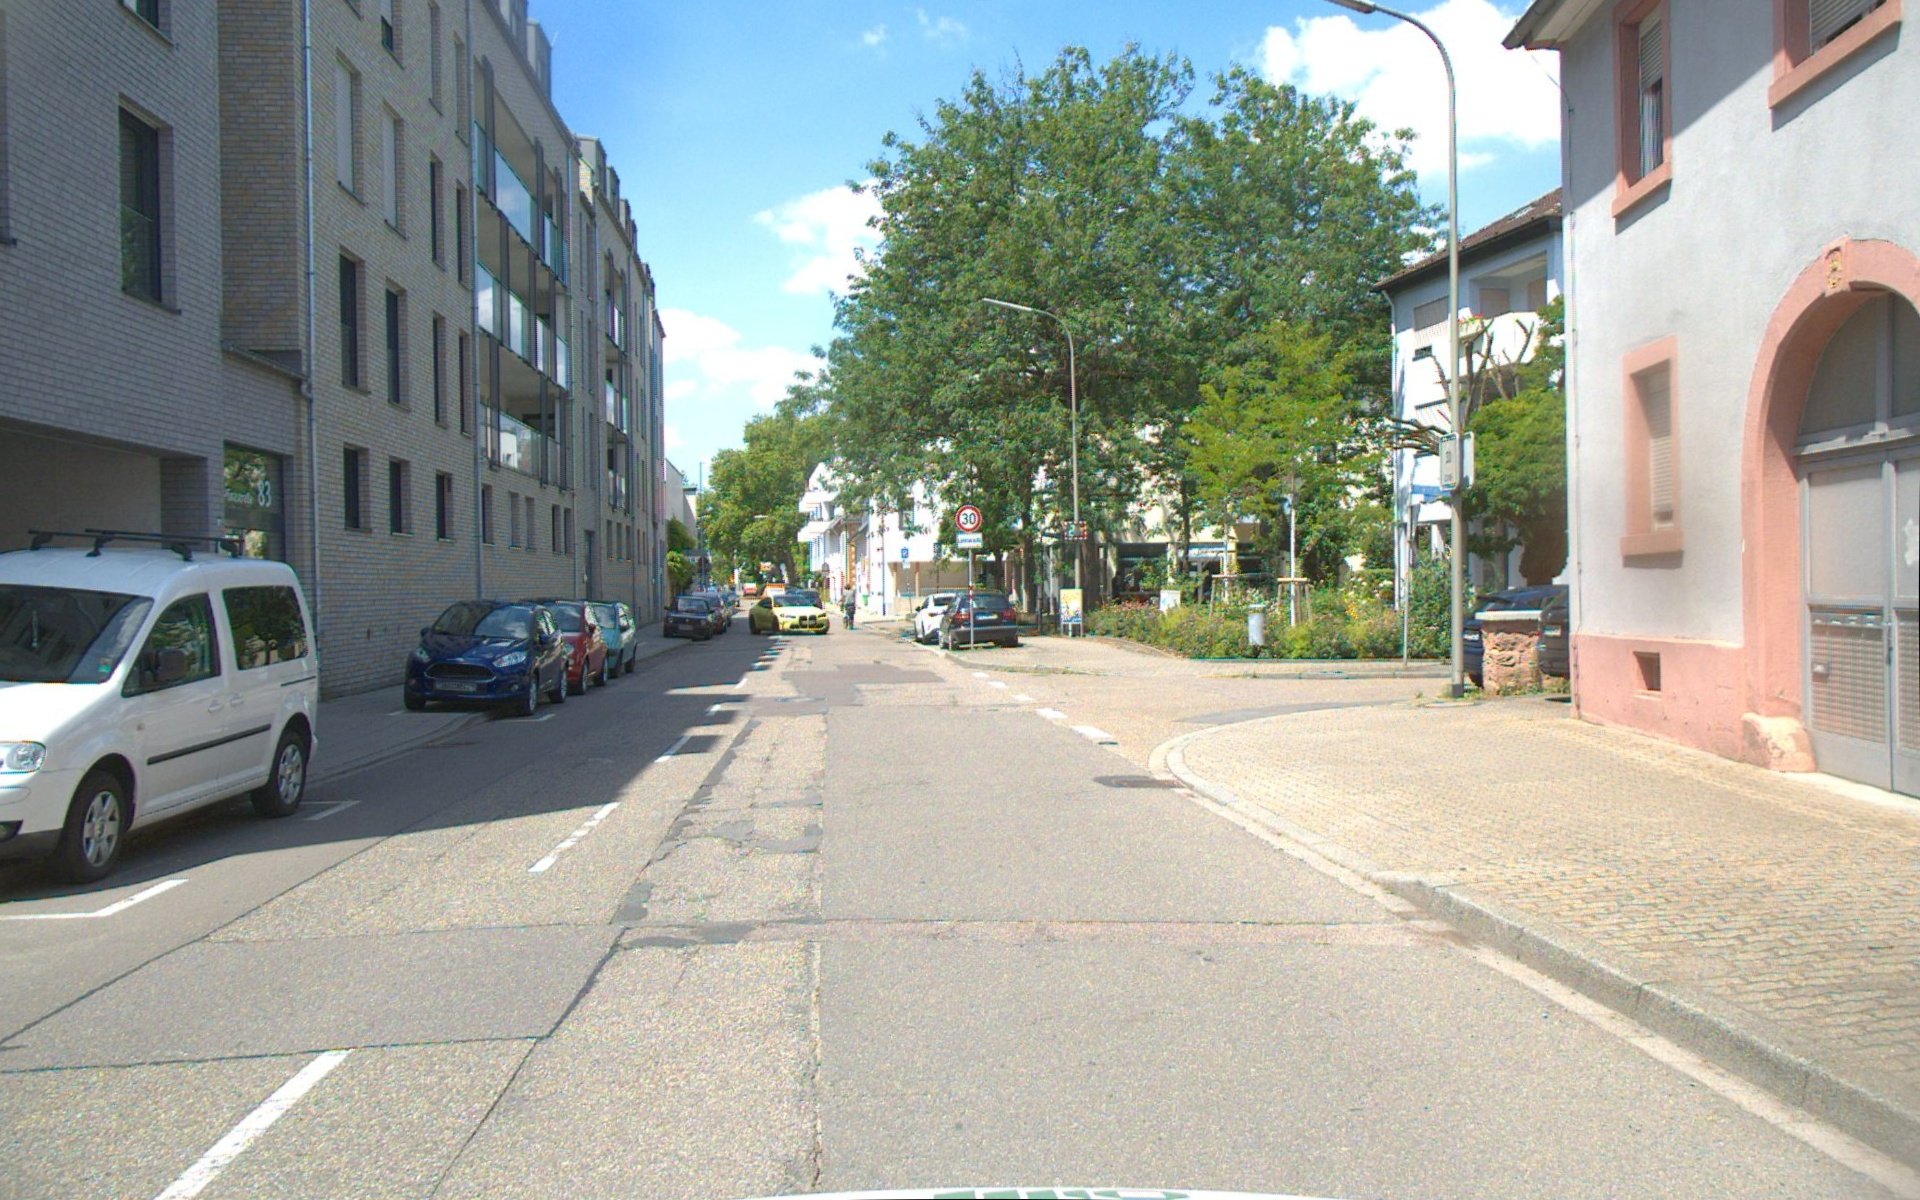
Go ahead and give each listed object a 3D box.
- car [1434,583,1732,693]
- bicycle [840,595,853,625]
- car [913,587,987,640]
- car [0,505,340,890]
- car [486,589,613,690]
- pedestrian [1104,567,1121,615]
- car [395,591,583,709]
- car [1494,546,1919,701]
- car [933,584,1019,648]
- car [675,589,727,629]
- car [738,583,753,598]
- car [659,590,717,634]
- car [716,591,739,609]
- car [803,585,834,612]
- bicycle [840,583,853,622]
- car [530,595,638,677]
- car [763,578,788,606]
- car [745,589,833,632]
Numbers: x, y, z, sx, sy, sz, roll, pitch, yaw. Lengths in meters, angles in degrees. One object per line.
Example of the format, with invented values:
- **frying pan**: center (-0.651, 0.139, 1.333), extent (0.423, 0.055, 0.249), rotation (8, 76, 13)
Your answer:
- **car**: center (8.668, 0.525, 23.170), extent (3.528, 1.474, 1.740), rotation (0, 0, -6)
- **bicycle**: center (-4.480, 0.392, 65.408), extent (0.474, 1.134, 1.194), rotation (-1, 0, -6)
- **car**: center (-0.330, 0.360, 48.154), extent (1.744, 1.445, 3.995), rotation (-1, 0, -6)
- **car**: center (-5.580, 0.436, 10.434), extent (1.721, 1.925, 4.336), rotation (2, 1, -1)
- **car**: center (-6.852, 0.611, 27.880), extent (1.560, 1.581, 3.567), rotation (0, 0, -5)
- **pedestrian**: center (6.162, -0.360, 66.750), extent (0.582, 1.891, 0.604), rotation (-1, 0, 14)
- **car**: center (-6.470, 0.626, 23.119), extent (1.689, 1.481, 4.002), rotation (1, 0, -4)
- **car**: center (8.682, 0.270, 19.443), extent (4.182, 1.557, 1.741), rotation (-2, -1, -2)
- **car**: center (0.351, 0.370, 41.446), extent (1.660, 1.444, 3.995), rotation (-3, 1, -6)
- **car**: center (-9.819, 0.308, 62.988), extent (1.699, 1.467, 3.995), rotation (-1, 0, -6)
- **car**: center (-30.161, -1.344, 232.613), extent (2.116, 2.049, 3.993), rotation (-1, 1, -8)
- **car**: center (-9.500, 0.383, 57.975), extent (1.699, 1.467, 3.995), rotation (-1, 0, -6)
- **car**: center (-20.855, -0.038, 148.558), extent (1.956, 1.545, 3.994), rotation (-1, 1, -7)
- **car**: center (-7.960, -0.127, 92.881), extent (1.682, 1.426, 3.996), rotation (-1, 1, -5)
- **bicycle**: center (-4.491, 0.101, 65.436), extent (0.468, 1.516, 0.575), rotation (-1, 0, -6)
- **car**: center (-7.294, 0.661, 32.352), extent (1.560, 1.481, 3.699), rotation (1, 0, -5)
- **car**: center (-13.745, -0.615, 123.434), extent (1.803, 2.049, 3.995), rotation (-1, 1, -6)
- **car**: center (-6.211, 0.354, 59.627), extent (1.966, 1.405, 4.362), rotation (1, 1, -23)
